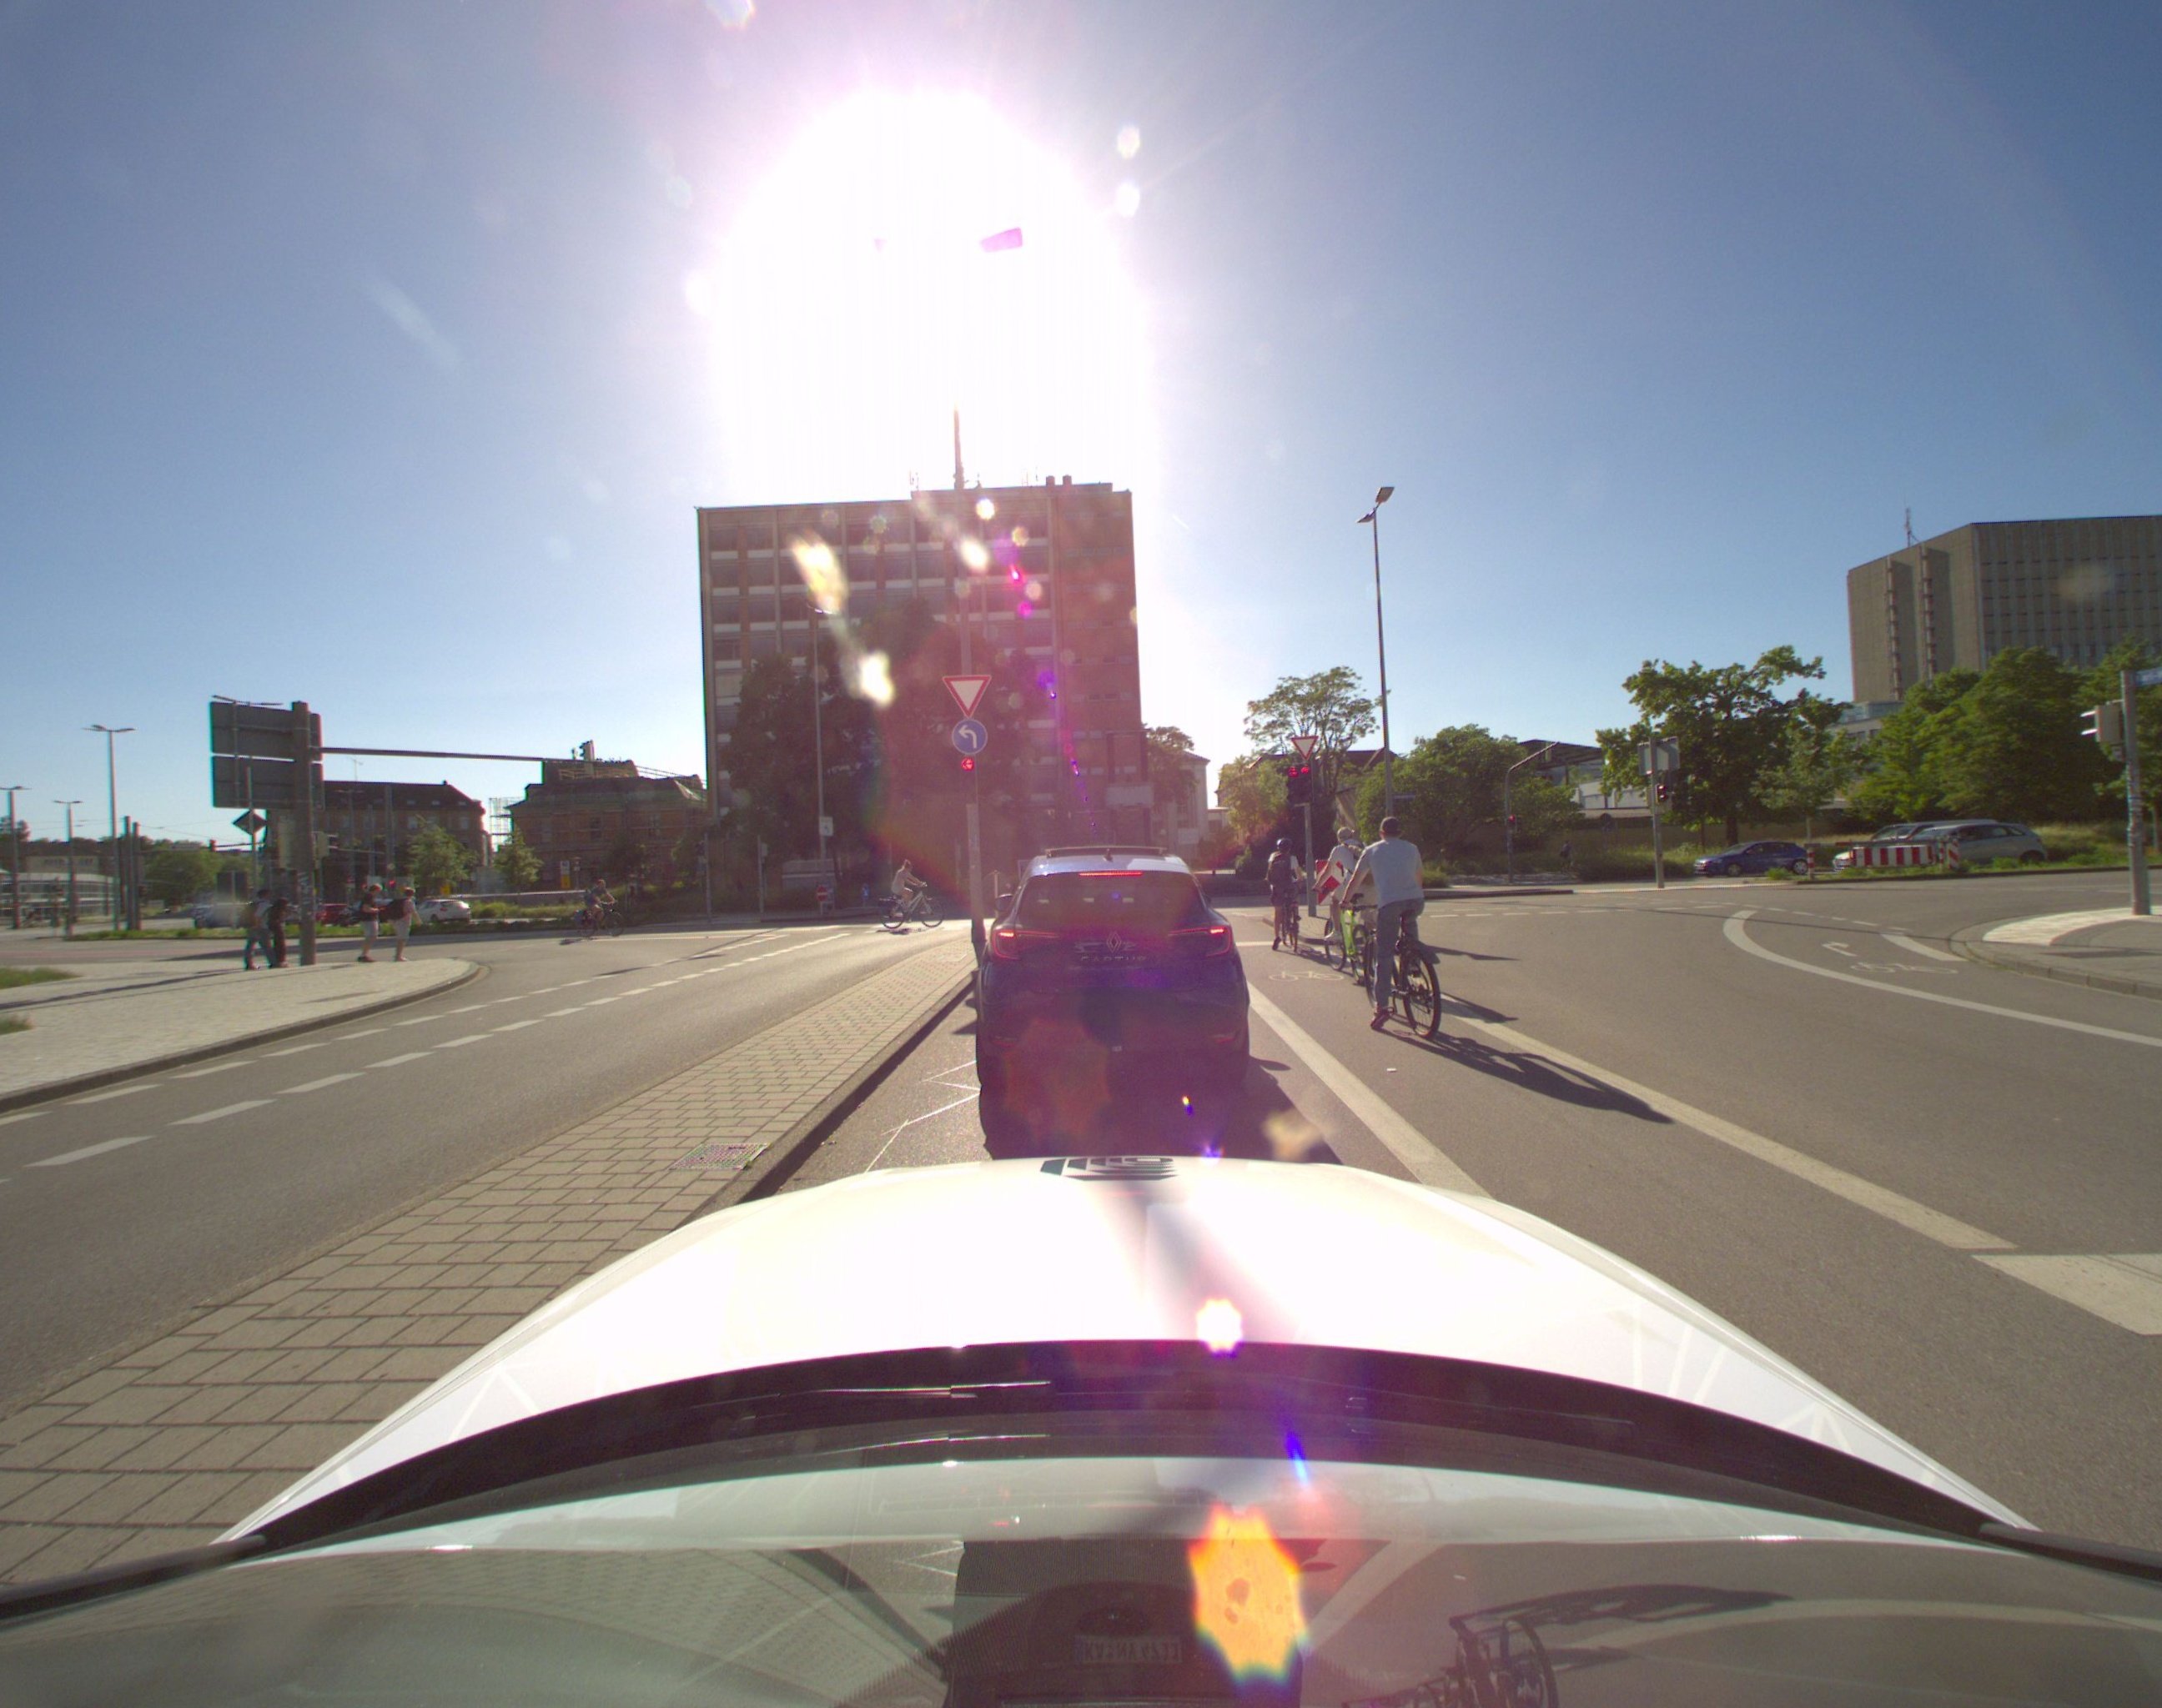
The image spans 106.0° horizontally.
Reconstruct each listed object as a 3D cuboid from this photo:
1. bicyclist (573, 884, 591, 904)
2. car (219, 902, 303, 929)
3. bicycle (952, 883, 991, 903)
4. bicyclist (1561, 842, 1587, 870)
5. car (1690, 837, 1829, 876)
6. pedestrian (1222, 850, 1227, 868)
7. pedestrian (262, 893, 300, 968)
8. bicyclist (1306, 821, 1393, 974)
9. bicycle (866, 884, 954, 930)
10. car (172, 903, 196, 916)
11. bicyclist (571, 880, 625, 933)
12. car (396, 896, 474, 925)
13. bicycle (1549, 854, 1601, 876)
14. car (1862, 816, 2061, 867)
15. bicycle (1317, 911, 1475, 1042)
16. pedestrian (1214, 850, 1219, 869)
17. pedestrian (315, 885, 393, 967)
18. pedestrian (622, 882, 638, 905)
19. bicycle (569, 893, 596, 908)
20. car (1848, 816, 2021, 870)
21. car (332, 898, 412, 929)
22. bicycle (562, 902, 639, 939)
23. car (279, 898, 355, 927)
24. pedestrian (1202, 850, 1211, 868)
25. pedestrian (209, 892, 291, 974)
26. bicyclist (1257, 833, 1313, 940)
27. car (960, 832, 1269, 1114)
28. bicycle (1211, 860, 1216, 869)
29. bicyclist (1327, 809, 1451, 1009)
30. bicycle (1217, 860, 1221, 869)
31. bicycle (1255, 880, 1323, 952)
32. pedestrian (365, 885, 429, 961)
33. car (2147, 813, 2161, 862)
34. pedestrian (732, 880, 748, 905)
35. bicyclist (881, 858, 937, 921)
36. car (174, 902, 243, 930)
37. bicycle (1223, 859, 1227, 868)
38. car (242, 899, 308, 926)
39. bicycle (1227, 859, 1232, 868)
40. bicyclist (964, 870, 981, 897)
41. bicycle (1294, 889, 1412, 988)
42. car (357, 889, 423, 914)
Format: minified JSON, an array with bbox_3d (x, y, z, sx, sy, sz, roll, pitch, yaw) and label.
[{"bbox_3d":[-36.185,2.909,59.056,0.928,1.429,0.602,-3,-1,25],"label":"bicyclist"},{"bbox_3d":[-49.009,3.685,48.661,4.841,1.388,1.854,-3,-1,23],"label":"car"},{"bbox_3d":[-5.923,2.117,44.026,2.016,0.964,0.593,-2,-1,-25],"label":"bicycle"},{"bbox_3d":[24.255,0.091,40.096,0.822,1.316,0.697,-3,1,5],"label":"bicyclist"},{"bbox_3d":[28.222,0.103,34.008,4.140,1.435,1.747,-2,-1,8],"label":"car"},{"bbox_3d":[16.218,0.607,92.183,0.473,2.014,0.469,-2,-1,8],"label":"pedestrian"},{"bbox_3d":[-19.147,1.817,19.492,0.600,1.729,0.572,-2,-1,-45],"label":"pedestrian"},{"bbox_3d":[3.220,0.498,9.850,0.644,1.739,1.065,0,-1,-4],"label":"bicyclist"},{"bbox_3d":[-4.320,1.337,20.586,1.970,0.995,0.744,-4,-1,13],"label":"bicycle"},{"bbox_3d":[-124.577,7.718,113.125,4.330,1.632,1.856,-3,-1,37],"label":"car"},{"bbox_3d":[-13.842,1.497,23.338,1.115,1.422,0.690,-4,-1,16],"label":"bicyclist"},{"bbox_3d":[-36.362,3.191,45.841,3.803,1.435,1.752,-2,-1,21],"label":"car"},{"bbox_3d":[24.315,0.549,40.132,2.071,0.930,0.697,-3,1,6],"label":"bicycle"},{"bbox_3d":[28.143,-0.378,26.166,4.025,1.408,1.872,-2,-1,8],"label":"car"},{"bbox_3d":[2.725,1.017,7.295,0.737,0.896,1.980,0,-1,3],"label":"bicycle"},{"bbox_3d":[15.106,0.604,90.857,0.473,2.014,0.524,-2,-1,8],"label":"pedestrian"},{"bbox_3d":[-16.944,1.656,19.011,0.697,1.800,1.108,-5,-3,16],"label":"pedestrian"},{"bbox_3d":[-32.396,2.823,58.471,0.852,1.571,0.562,-3,-1,24],"label":"pedestrian"},{"bbox_3d":[-36.170,3.381,59.047,2.057,0.964,0.602,-3,-1,25],"label":"bicycle"},{"bbox_3d":[35.256,-0.438,33.760,4.856,2.107,2.002,0,-1,4],"label":"car"},{"bbox_3d":[-42.572,3.583,48.899,4.334,1.632,1.854,-3,-1,23],"label":"car"},{"bbox_3d":[-13.797,1.912,23.376,1.969,0.918,0.690,-5,-1,16],"label":"bicycle"},{"bbox_3d":[-48.454,3.692,51.648,4.334,1.632,1.854,-3,-1,23],"label":"car"},{"bbox_3d":[14.383,0.525,93.216,0.855,2.014,0.469,-2,-1,7],"label":"pedestrian"},{"bbox_3d":[-18.293,1.716,17.949,0.900,1.690,0.839,-4,-3,-3],"label":"pedestrian"},{"bbox_3d":[3.243,0.504,12.987,0.722,1.629,0.970,0,-1,6],"label":"bicyclist"},{"bbox_3d":[0.208,0.712,6.802,1.798,1.632,3.999,-1,0,0],"label":"car"},{"bbox_3d":[15.262,1.233,93.880,0.403,0.973,1.686,0,-1,6],"label":"bicycle"},{"bbox_3d":[2.717,0.462,7.295,0.748,1.668,1.017,0,-1,3],"label":"bicyclist"},{"bbox_3d":[15.880,1.228,93.822,0.403,0.973,1.686,0,-1,6],"label":"bicycle"},{"bbox_3d":[3.252,0.931,12.933,0.735,0.995,2.177,0,-1,6],"label":"bicycle"},{"bbox_3d":[-16.062,1.609,19.136,0.787,1.690,0.792,-5,-3,13],"label":"pedestrian"},{"bbox_3d":[36.990,-0.622,25.349,4.711,1.584,2.002,-2,-1,4],"label":"car"},{"bbox_3d":[-22.699,2.587,54.240,0.730,1.603,0.602,-3,-1,24],"label":"pedestrian"},{"bbox_3d":[-4.346,0.880,20.610,1.061,1.500,0.744,-4,-1,14],"label":"bicyclist"},{"bbox_3d":[-55.157,3.915,51.471,4.331,1.632,1.855,-3,-1,27],"label":"car"},{"bbox_3d":[16.658,1.082,94.172,0.403,0.973,1.686,0,-1,6],"label":"bicycle"},{"bbox_3d":[-53.811,3.929,54.374,4.331,1.632,1.855,-3,-1,27],"label":"car"},{"bbox_3d":[17.192,1.078,94.173,0.403,0.973,1.686,0,-1,6],"label":"bicycle"},{"bbox_3d":[-5.885,1.601,44.053,0.741,1.441,0.593,-2,-1,-25],"label":"bicyclist"},{"bbox_3d":[3.219,0.958,9.851,0.657,1.003,1.967,0,-1,-4],"label":"bicycle"},{"bbox_3d":[-50.921,3.510,59.979,4.779,1.632,1.855,-2,-1,25],"label":"car"}]
